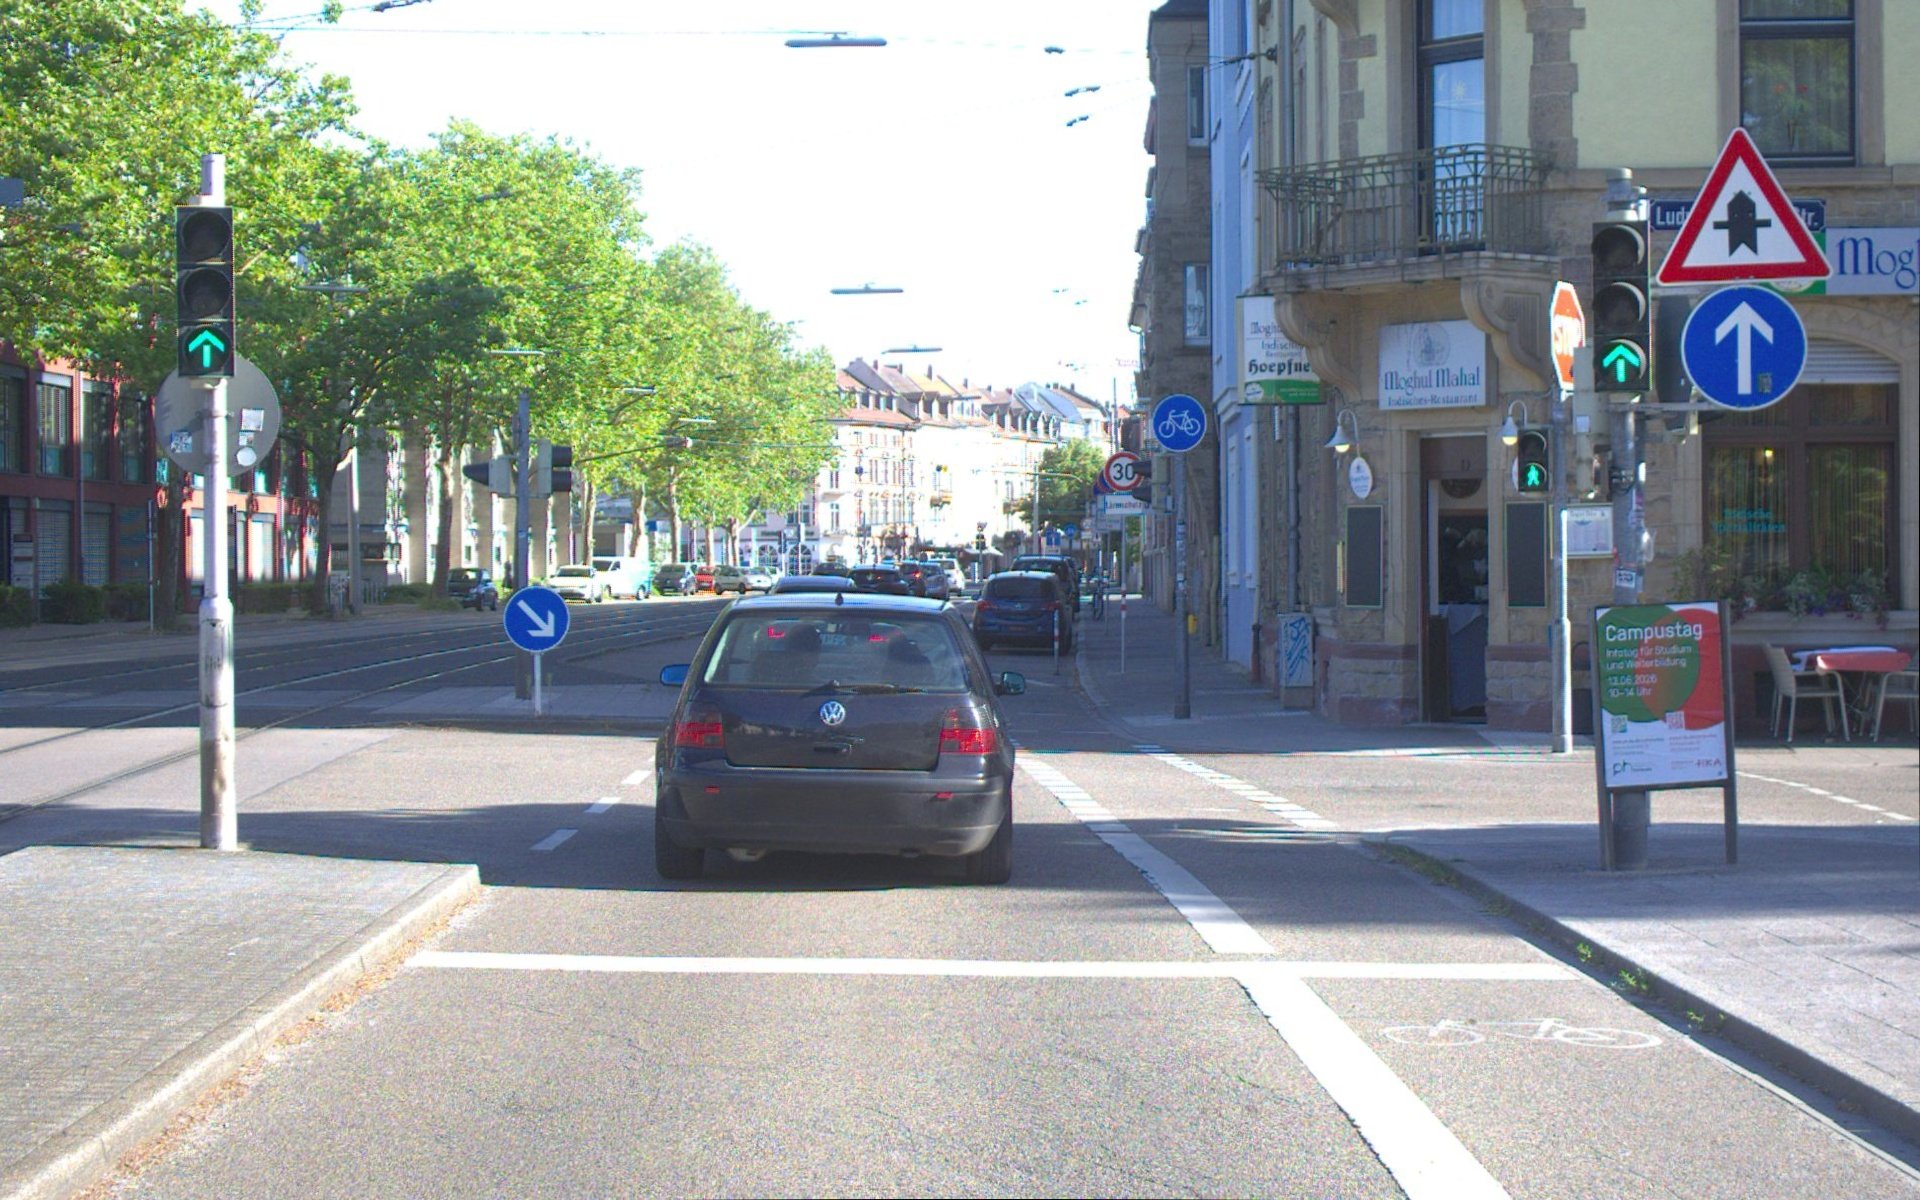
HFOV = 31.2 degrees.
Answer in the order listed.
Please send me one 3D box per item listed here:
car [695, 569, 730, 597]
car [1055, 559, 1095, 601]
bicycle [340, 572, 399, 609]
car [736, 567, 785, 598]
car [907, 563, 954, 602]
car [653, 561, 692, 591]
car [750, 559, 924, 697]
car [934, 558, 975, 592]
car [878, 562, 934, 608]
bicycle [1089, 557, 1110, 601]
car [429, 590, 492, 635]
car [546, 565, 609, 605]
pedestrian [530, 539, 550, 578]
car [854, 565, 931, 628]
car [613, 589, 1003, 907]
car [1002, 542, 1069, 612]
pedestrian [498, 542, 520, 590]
[{"bbox_3d":[-13.906,-0.958,193.004,1.570,1.528,3.572,0,0,2],"label":"car"},{"bbox_3d":[5.275,-0.936,157.375,1.759,1.831,3.547,2,1,2],"label":"car"},{"bbox_3d":[-21.343,-0.353,124.277,2.008,1.274,0.664,1,1,3],"label":"bicycle"},{"bbox_3d":[-10.574,-0.938,182.207,1.753,1.513,4.070,-2,0,8],"label":"car"},{"bbox_3d":[-1.133,-0.697,131.935,1.636,1.467,3.729,0,1,2],"label":"car"},{"bbox_3d":[-14.746,-1.226,176.232,1.570,1.528,3.572,0,0,2],"label":"car"},{"bbox_3d":[-1.413,0.298,40.955,1.749,1.532,3.891,0,1,3],"label":"car"},{"bbox_3d":[-0.236,-1.108,151.737,1.636,1.467,3.729,0,1,2],"label":"car"},{"bbox_3d":[-1.756,-0.514,112.275,1.636,1.467,3.729,0,1,2],"label":"car"},{"bbox_3d":[3.707,-0.570,91.459,0.514,1.136,2.259,-2,1,2],"label":"bicycle"},{"bbox_3d":[-17.082,0.445,117.600,1.507,1.449,3.463,-1,-1,2],"label":"car"},{"bbox_3d":[-15.768,-0.633,141.887,2.012,1.567,4.693,2,1,1],"label":"car"},{"bbox_3d":[-19.899,-1.975,163.003,0.796,1.814,0.670,2,1,2],"label":"pedestrian"},{"bbox_3d":[-1.590,-0.104,82.186,1.636,1.467,3.729,0,1,2],"label":"car"},{"bbox_3d":[-0.661,0.662,17.496,1.748,1.370,4.000,0,1,1],"label":"car"},{"bbox_3d":[2.098,-0.650,94.265,1.753,1.849,4.815,1,1,2],"label":"car"},{"bbox_3d":[-17.751,-1.324,135.296,0.784,1.863,0.671,1,1,-12],"label":"pedestrian"}]
